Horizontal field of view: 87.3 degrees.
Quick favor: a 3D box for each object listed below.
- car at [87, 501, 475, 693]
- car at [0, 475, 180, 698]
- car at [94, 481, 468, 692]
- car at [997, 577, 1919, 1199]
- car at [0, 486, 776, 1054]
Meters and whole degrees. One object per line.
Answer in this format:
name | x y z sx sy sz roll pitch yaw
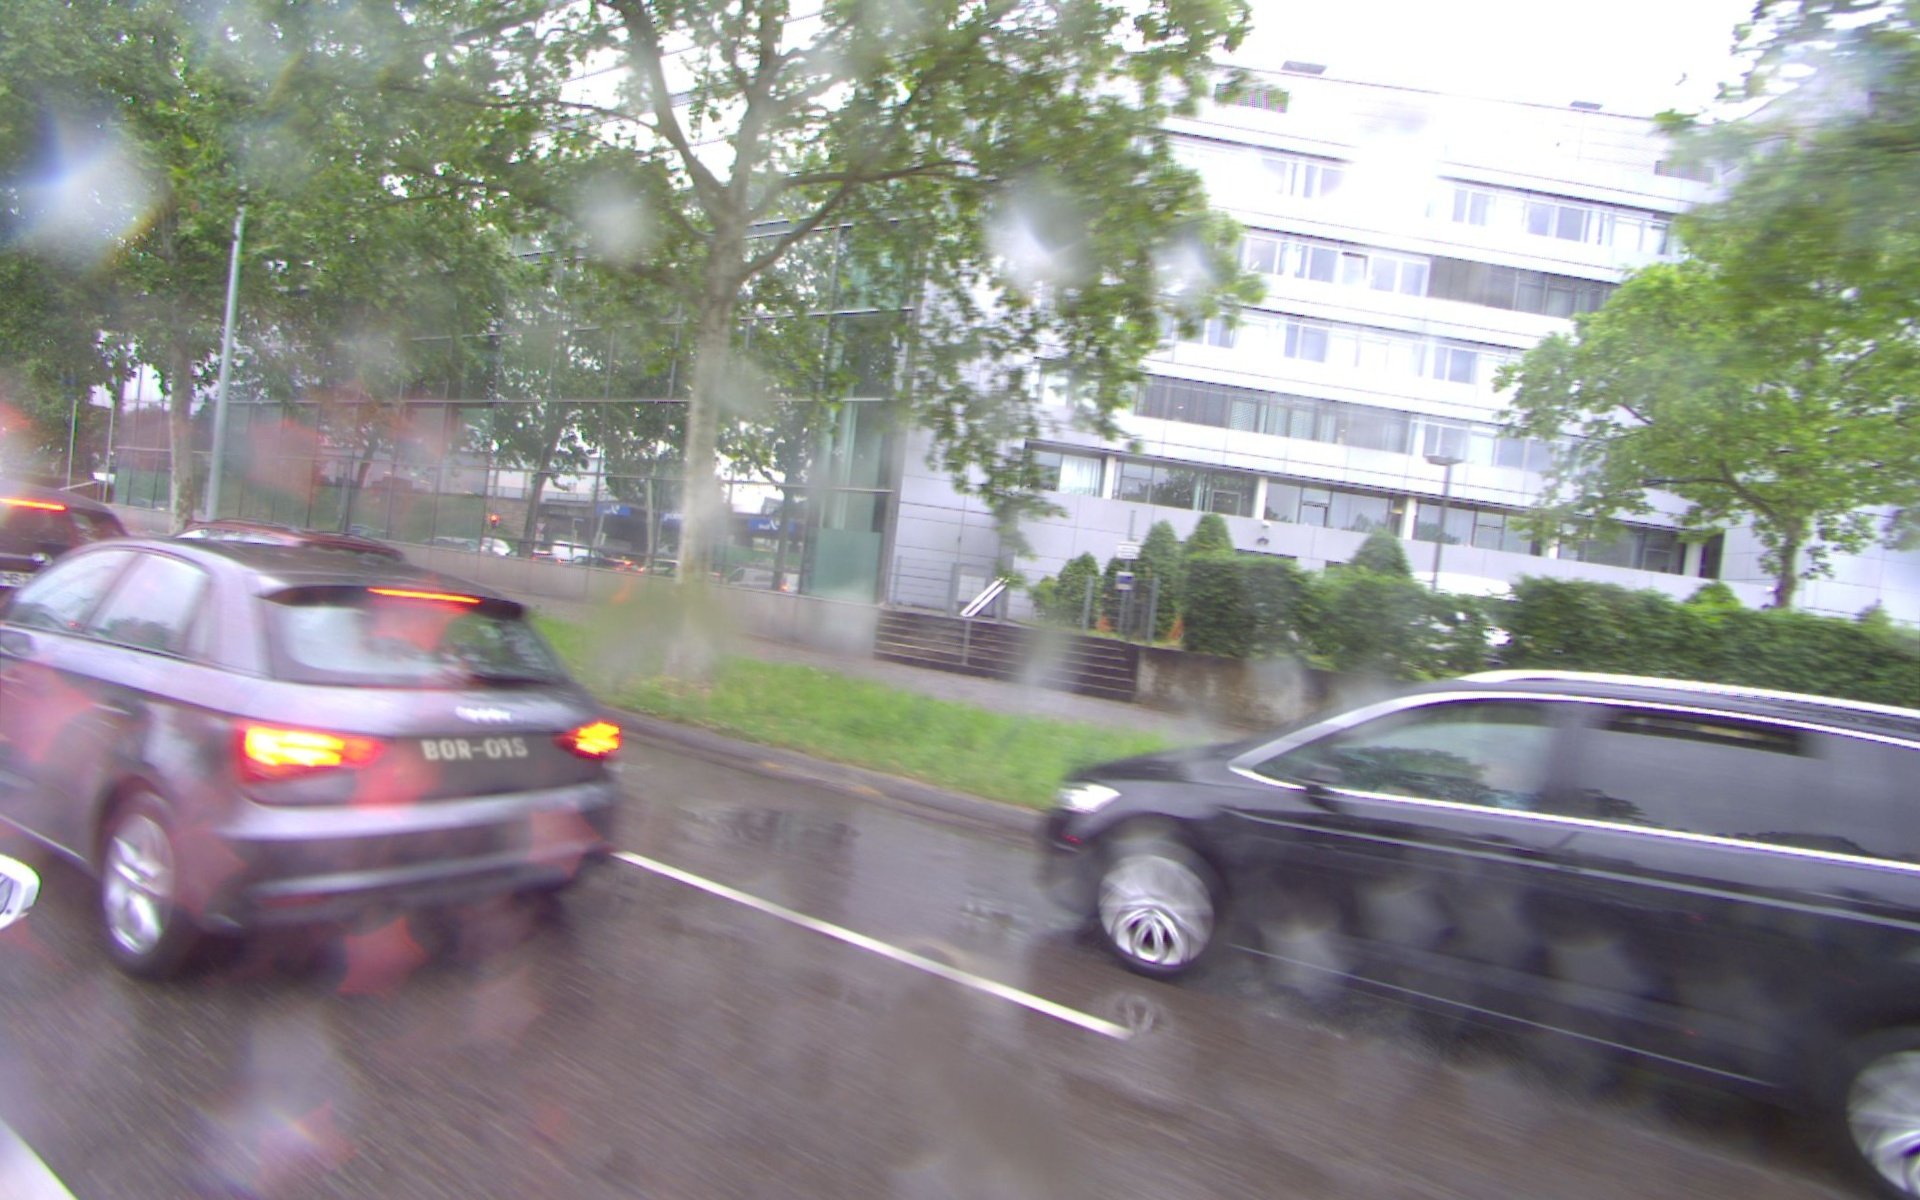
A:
car | -7.485 -0.055 11.027 4.042 1.555 1.843 7 -1 30
car | -8.408 -0.304 8.244 3.932 1.569 1.711 8 0 30
car | -7.255 -0.173 10.668 3.892 1.693 1.714 7 0 31
car | 2.504 1.039 4.645 4.119 1.746 1.860 7 -1 30
car | -3.086 0.402 4.605 3.932 1.469 1.998 7 -1 30
